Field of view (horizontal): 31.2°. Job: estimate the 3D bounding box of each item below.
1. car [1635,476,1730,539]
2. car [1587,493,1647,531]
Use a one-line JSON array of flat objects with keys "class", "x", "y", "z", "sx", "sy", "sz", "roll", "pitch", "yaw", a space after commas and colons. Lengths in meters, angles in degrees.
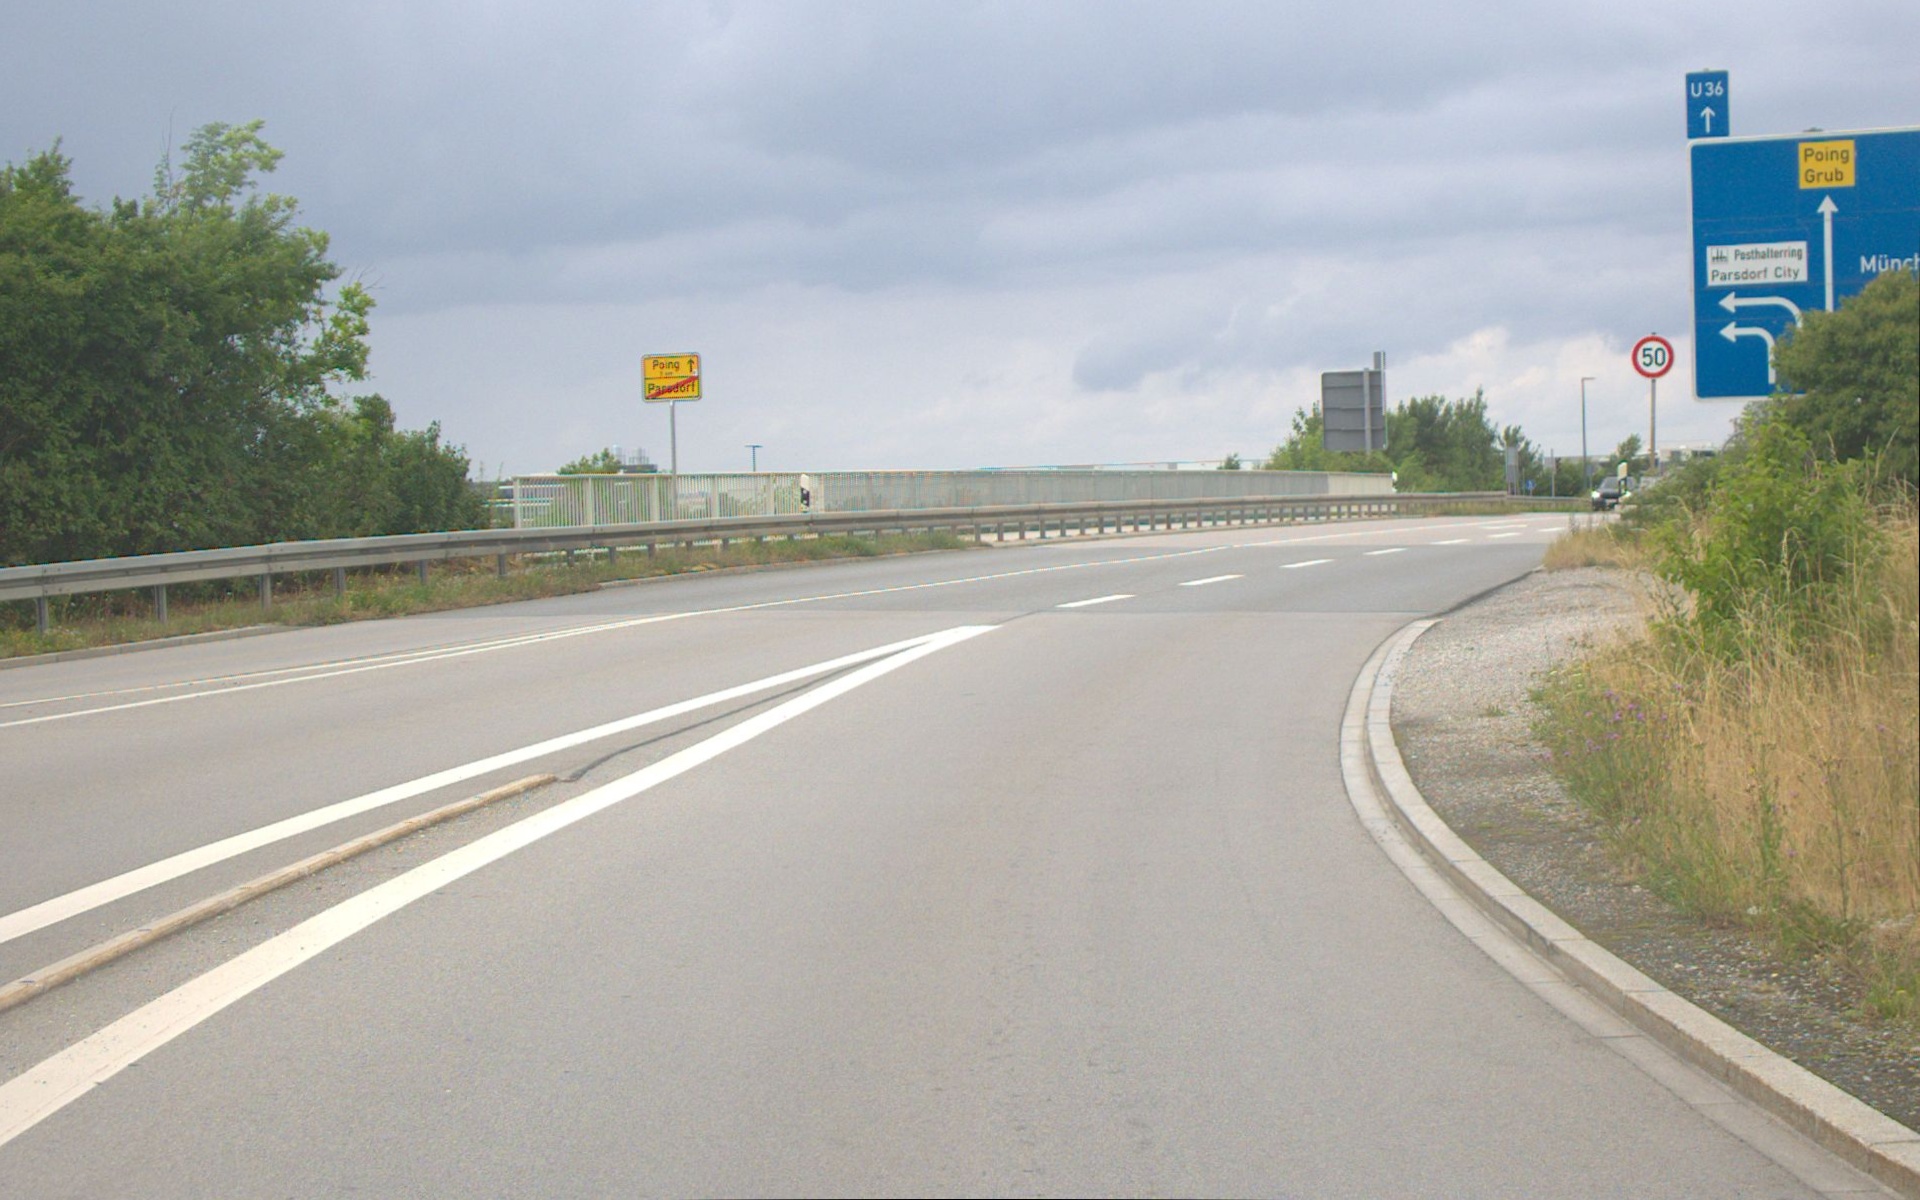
[{"class": "car", "x": 17.646, "y": -2.267, "z": 83.846, "sx": 1.520, "sy": 1.480, "sz": 3.611, "roll": 0, "pitch": 2, "yaw": 24}, {"class": "car", "x": 32.069, "y": -4.293, "z": 167.834, "sx": 1.996, "sy": 1.726, "sz": 4.757, "roll": 5, "pitch": 3, "yaw": 20}]
